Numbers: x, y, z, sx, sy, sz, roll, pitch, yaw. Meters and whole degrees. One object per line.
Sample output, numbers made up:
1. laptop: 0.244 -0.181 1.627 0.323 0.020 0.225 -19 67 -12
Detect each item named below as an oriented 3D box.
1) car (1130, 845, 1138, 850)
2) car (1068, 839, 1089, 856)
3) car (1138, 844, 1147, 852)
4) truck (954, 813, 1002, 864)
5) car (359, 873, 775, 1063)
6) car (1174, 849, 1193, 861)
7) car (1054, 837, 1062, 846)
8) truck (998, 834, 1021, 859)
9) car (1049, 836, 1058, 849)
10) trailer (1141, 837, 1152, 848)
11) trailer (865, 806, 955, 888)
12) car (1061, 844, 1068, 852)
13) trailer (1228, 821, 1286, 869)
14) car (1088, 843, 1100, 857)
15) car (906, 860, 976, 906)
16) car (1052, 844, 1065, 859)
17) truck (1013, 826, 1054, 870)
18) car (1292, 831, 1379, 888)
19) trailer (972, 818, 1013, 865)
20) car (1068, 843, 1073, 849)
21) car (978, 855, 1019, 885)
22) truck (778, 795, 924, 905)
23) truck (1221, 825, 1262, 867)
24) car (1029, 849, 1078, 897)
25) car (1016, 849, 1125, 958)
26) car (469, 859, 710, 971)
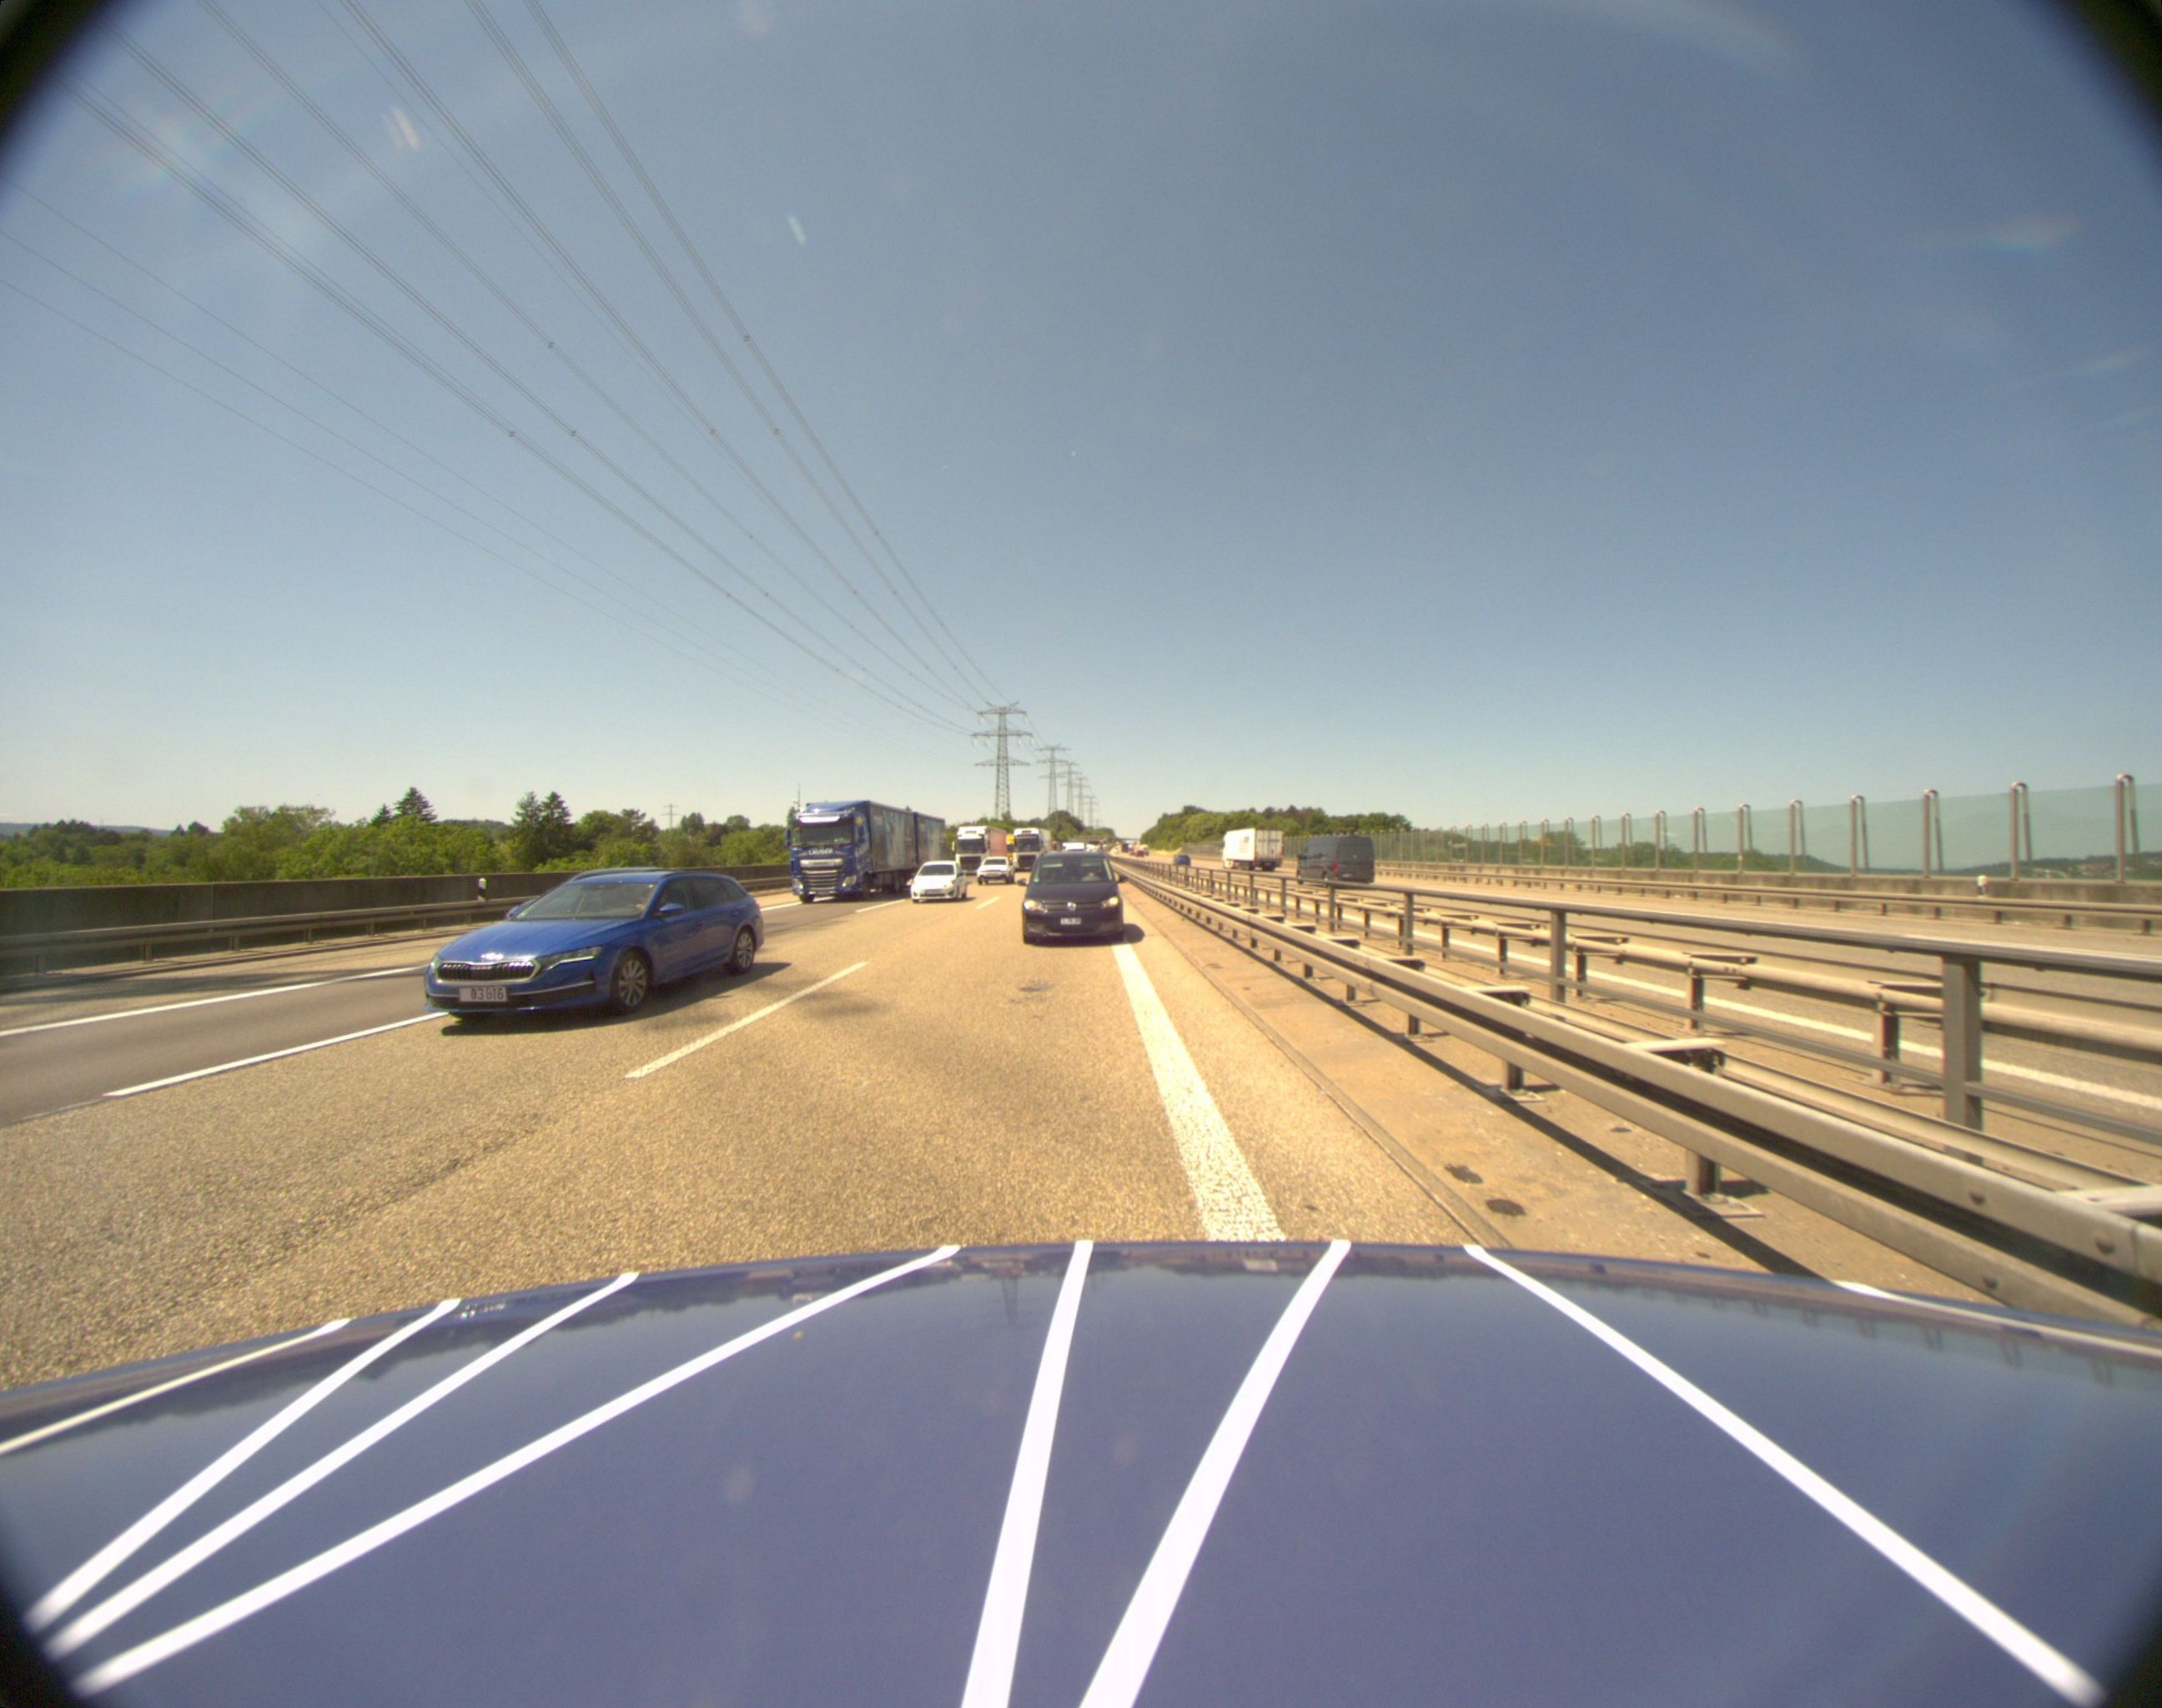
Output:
1. car: 16.016 -1.864 228.944 1.876 1.434 4.384 1 1 0
2. car: -0.255 -0.652 74.114 1.924 1.501 3.996 -2 1 1
3. car: 15.643 -1.544 192.107 1.844 1.812 4.746 0 1 -1
4. truck: -8.589 -1.306 64.630 2.608 3.965 8.264 -2 1 1
5. car: -5.486 1.070 9.030 1.712 1.443 4.563 -2 1 1
6. car: 12.774 0.073 94.804 1.777 1.483 4.604 0 0 1
7. car: -5.570 -3.122 185.491 1.704 2.116 3.999 2 1 1
8. truck: -8.958 -0.973 95.693 2.251 2.966 6.242 2 1 -1
9. car: -5.686 -2.405 156.632 1.704 2.525 3.999 2 1 1
10. trailer: 21.101 -3.639 245.819 2.505 3.520 10.901 0 1 1
11. trailer: -9.342 -0.427 42.704 2.835 4.066 8.636 -2 1 1
12. car: -4.522 -1.773 213.263 1.704 2.116 3.999 2 1 1
13. trailer: 17.120 -0.892 74.966 2.913 4.282 13.660 0 1 2
14. car: 2.047 -0.626 119.650 1.704 2.116 3.999 -2 1 1
15. car: -5.135 1.012 28.426 1.712 1.443 4.144 -2 1 1
16. car: -3.185 -0.348 108.953 1.704 2.116 3.999 2 1 1
17. truck: -4.345 -0.600 71.108 2.849 3.804 8.264 -2 1 2
18. car: 12.608 0.192 38.189 1.999 2.567 6.648 1 1 -1
19. trailer: -8.413 -1.209 73.324 2.608 4.094 9.084 -2 1 1
20. car: -3.530 -2.722 253.329 1.704 2.116 3.999 2 1 1
21. car: -4.640 0.870 43.204 1.712 1.501 4.144 -2 1 1
22. truck: -9.532 -0.232 33.172 2.859 3.927 10.393 -2 1 1
23. truck: 17.200 -0.922 81.918 2.936 4.269 6.857 2 1 1
24. car: -1.038 0.700 30.308 1.713 1.669 3.931 -2 1 0
25. car: -0.166 0.790 14.315 1.713 1.669 3.931 -2 1 0
26. car: -8.903 1.006 14.275 1.712 1.645 4.117 -2 1 1
